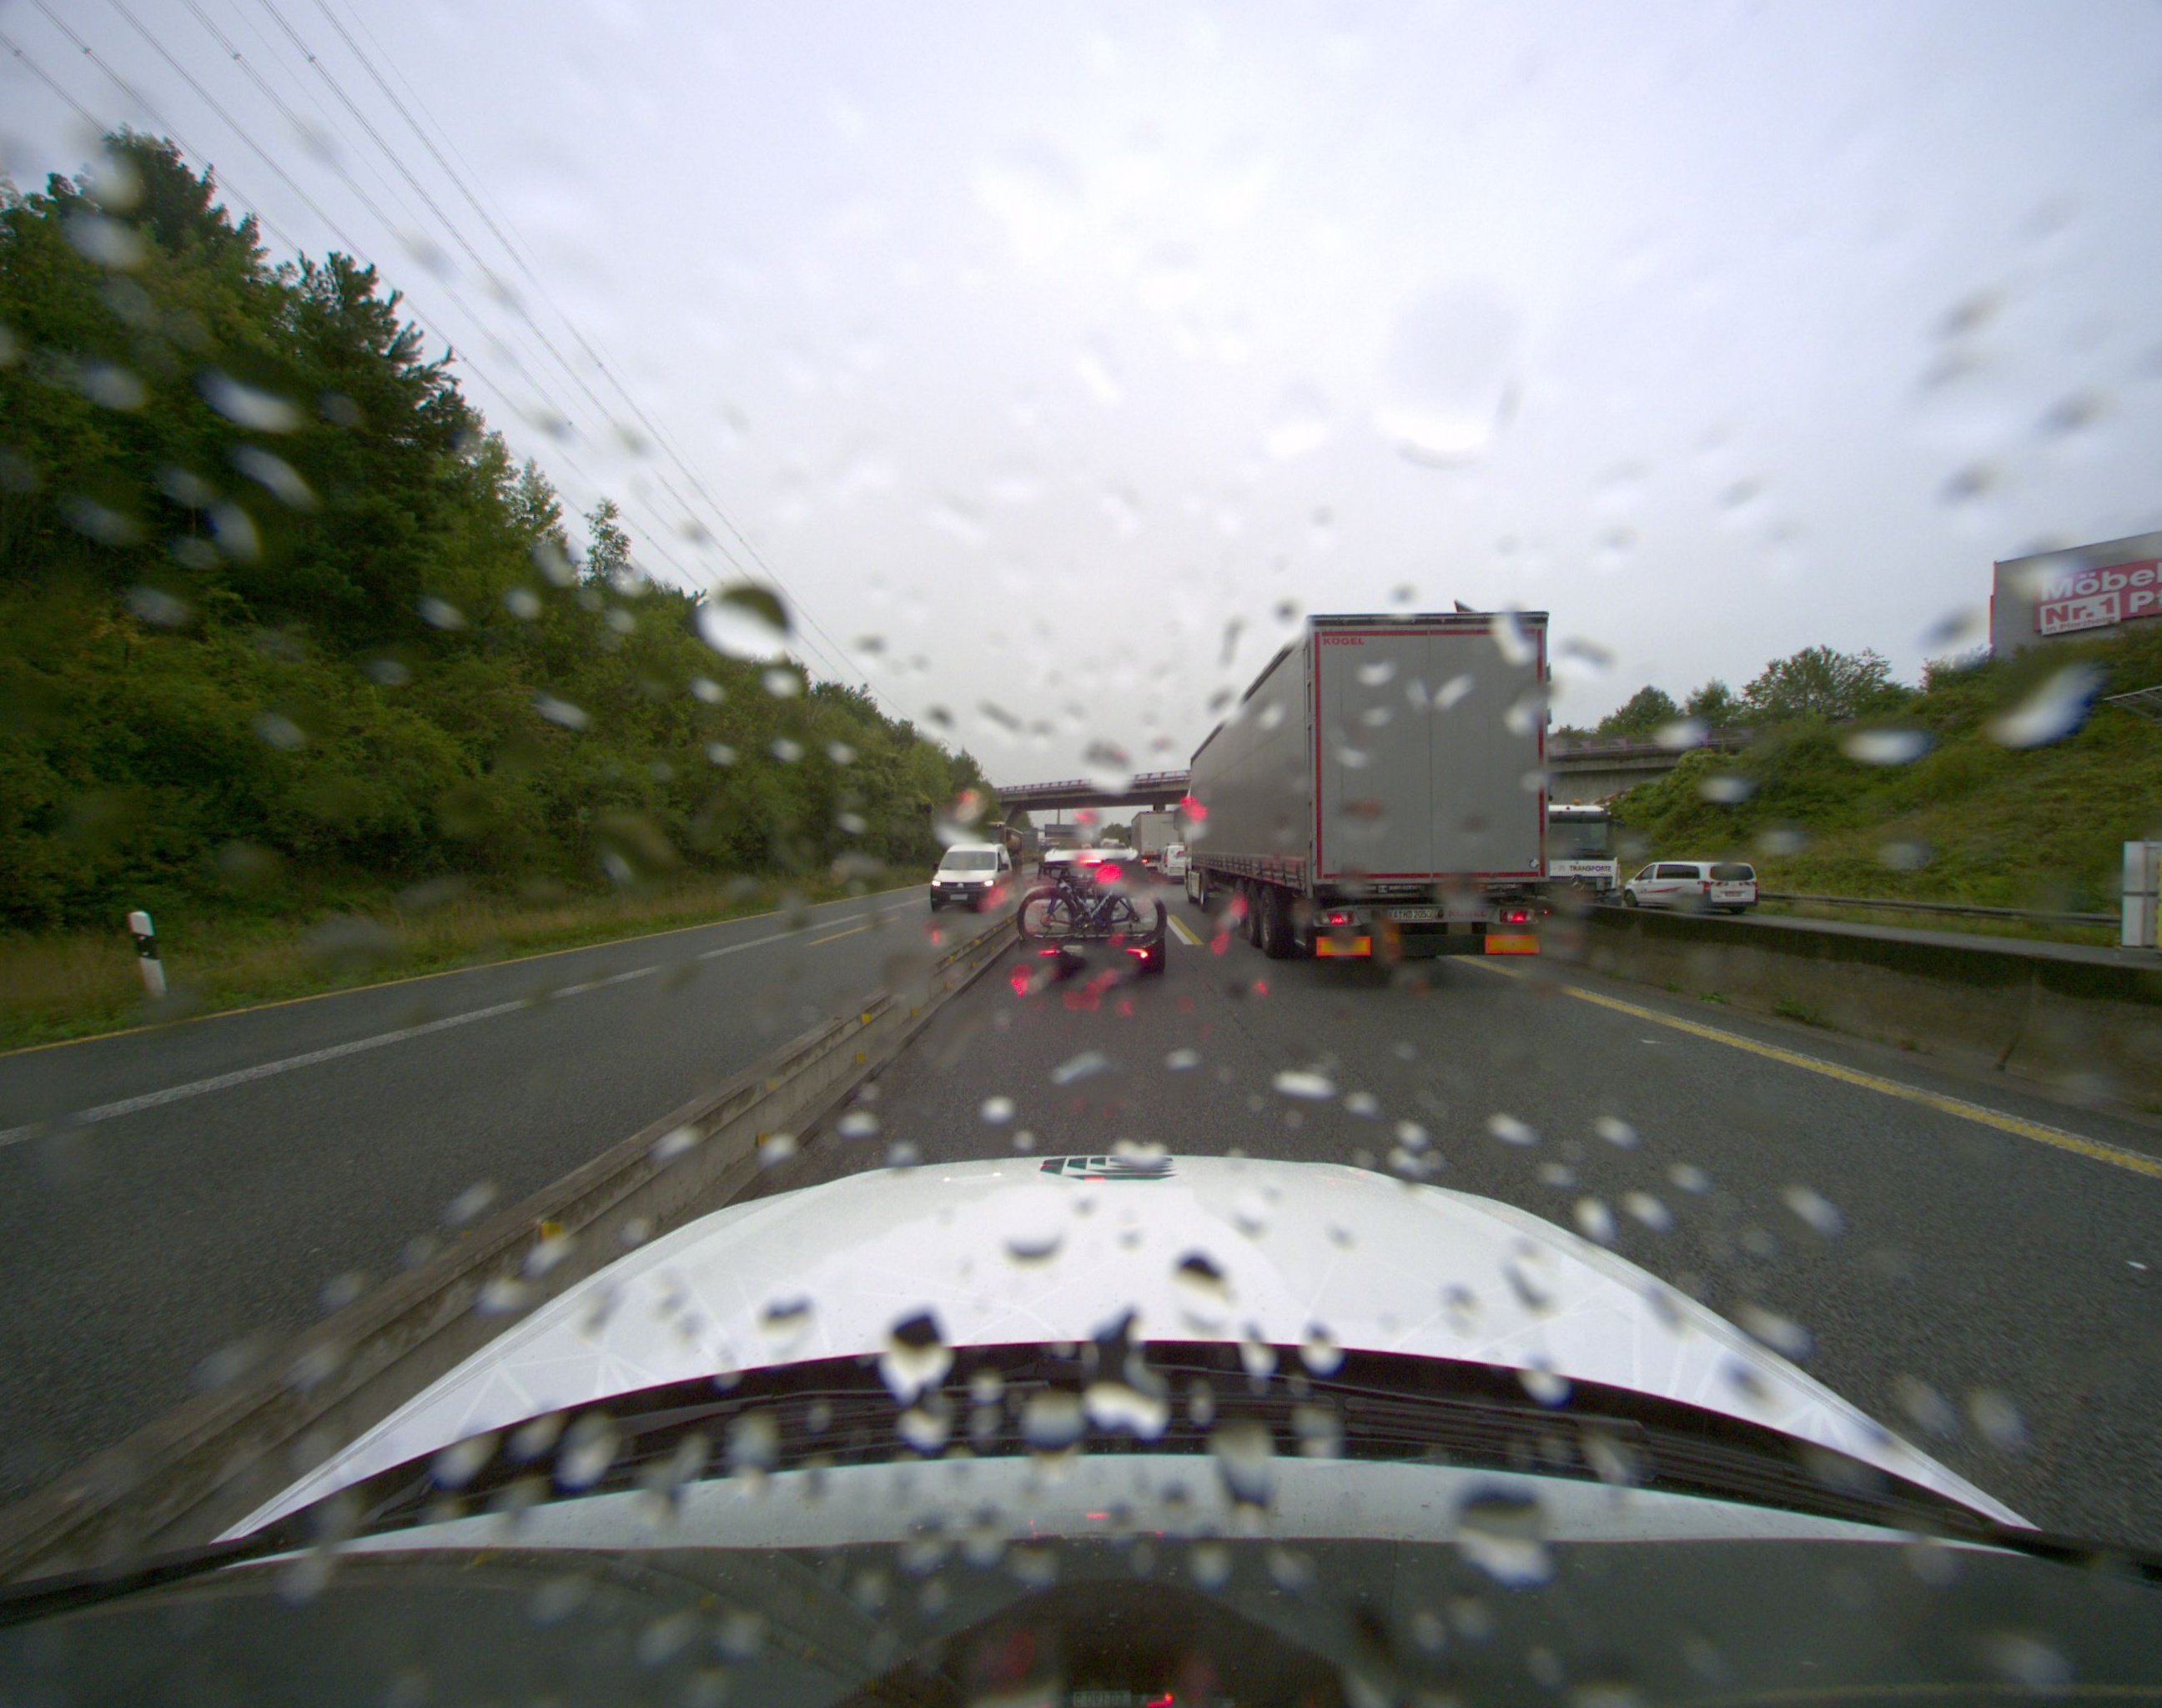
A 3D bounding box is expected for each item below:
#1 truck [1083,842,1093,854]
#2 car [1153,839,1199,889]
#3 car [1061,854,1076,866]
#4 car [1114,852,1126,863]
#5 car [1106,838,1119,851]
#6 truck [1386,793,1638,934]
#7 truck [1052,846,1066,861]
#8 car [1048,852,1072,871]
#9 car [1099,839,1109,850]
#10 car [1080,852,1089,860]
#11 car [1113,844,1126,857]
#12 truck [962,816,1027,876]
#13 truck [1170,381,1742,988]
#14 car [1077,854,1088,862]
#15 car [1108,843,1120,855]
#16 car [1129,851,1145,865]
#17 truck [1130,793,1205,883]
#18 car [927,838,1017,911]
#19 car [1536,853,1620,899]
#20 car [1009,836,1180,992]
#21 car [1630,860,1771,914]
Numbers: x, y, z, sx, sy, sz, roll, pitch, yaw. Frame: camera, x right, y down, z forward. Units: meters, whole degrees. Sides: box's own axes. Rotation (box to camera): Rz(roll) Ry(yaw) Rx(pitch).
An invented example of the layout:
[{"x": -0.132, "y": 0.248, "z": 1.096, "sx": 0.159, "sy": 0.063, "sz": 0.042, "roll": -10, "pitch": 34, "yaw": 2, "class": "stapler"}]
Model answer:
[{"x": 2.133, "y": -1.716, "z": 245.816, "sx": 2.525, "sy": 3.352, "sz": 12.054, "roll": -1, "pitch": 0, "yaw": 2, "class": "truck"}, {"x": 4.385, "y": 0.460, "z": 38.217, "sx": 1.664, "sy": 2.180, "sz": 4.535, "roll": -1, "pitch": 0, "yaw": 1, "class": "car"}, {"x": -1.591, "y": 0.822, "z": 108.613, "sx": 1.803, "sy": 1.559, "sz": 3.991, "roll": -1, "pitch": 0, "yaw": 1, "class": "car"}, {"x": 5.392, "y": 0.454, "z": 111.966, "sx": 1.632, "sy": 1.497, "sz": 3.668, "roll": -1, "pitch": 0, "yaw": 2, "class": "car"}, {"x": 5.788, "y": -1.692, "z": 149.581, "sx": 2.230, "sy": 2.307, "sz": 4.575, "roll": -1, "pitch": 0, "yaw": 2, "class": "car"}, {"x": 11.373, "y": 0.226, "z": 22.821, "sx": 2.511, "sy": 3.131, "sz": 9.123, "roll": -1, "pitch": 0, "yaw": 2, "class": "truck"}, {"x": -5.699, "y": -0.054, "z": 213.556, "sx": 2.670, "sy": 3.656, "sz": 12.319, "roll": -1, "pitch": 0, "yaw": 3, "class": "truck"}, {"x": -1.585, "y": 0.586, "z": 63.067, "sx": 1.680, "sy": 1.409, "sz": 3.930, "roll": -1, "pitch": 0, "yaw": 1, "class": "car"}, {"x": 4.700, "y": -1.911, "z": 164.711, "sx": 1.985, "sy": 2.126, "sz": 4.529, "roll": -1, "pitch": 0, "yaw": 2, "class": "car"}, {"x": 0.695, "y": 0.436, "z": 155.812, "sx": 1.680, "sy": 1.409, "sz": 3.930, "roll": -1, "pitch": 0, "yaw": 1, "class": "car"}, {"x": 5.891, "y": -0.506, "z": 125.369, "sx": 1.985, "sy": 2.014, "sz": 4.002, "roll": -1, "pitch": 0, "yaw": 2, "class": "car"}, {"x": -5.293, "y": -0.412, "z": 52.024, "sx": 2.525, "sy": 3.352, "sz": 12.054, "roll": -1, "pitch": 0, "yaw": 2, "class": "truck"}, {"x": 4.626, "y": -1.550, "z": 17.859, "sx": 3.964, "sy": 5.673, "sz": 20.388, "roll": -1, "pitch": 0, "yaw": 3, "class": "truck"}, {"x": 0.334, "y": 0.675, "z": 145.937, "sx": 1.803, "sy": 1.488, "sz": 4.398, "roll": -1, "pitch": 0, "yaw": 2, "class": "car"}, {"x": 5.547, "y": -0.839, "z": 136.902, "sx": 1.985, "sy": 2.014, "sz": 4.002, "roll": -1, "pitch": 0, "yaw": 2, "class": "car"}, {"x": 5.835, "y": 0.411, "z": 85.104, "sx": 1.632, "sy": 1.497, "sz": 3.668, "roll": -1, "pitch": 0, "yaw": 2, "class": "car"}, {"x": 6.184, "y": -0.986, "z": 62.371, "sx": 4.722, "sy": 5.673, "sz": 20.395, "roll": -1, "pitch": 0, "yaw": 4, "class": "truck"}, {"x": -2.908, "y": 0.525, "z": 22.755, "sx": 1.804, "sy": 1.824, "sz": 4.636, "roll": -1, "pitch": 0, "yaw": 1, "class": "car"}, {"x": 23.468, "y": 0.982, "z": 38.652, "sx": 1.721, "sy": 2.058, "sz": 4.129, "roll": -1, "pitch": 0, "yaw": 4, "class": "car"}, {"x": 0.286, "y": 0.649, "z": 10.951, "sx": 1.802, "sy": 1.637, "sz": 4.640, "roll": -1, "pitch": 0, "yaw": 4, "class": "car"}, {"x": 23.019, "y": 1.149, "z": 30.529, "sx": 1.933, "sy": 1.829, "sz": 4.733, "roll": -1, "pitch": 0, "yaw": 4, "class": "car"}]
